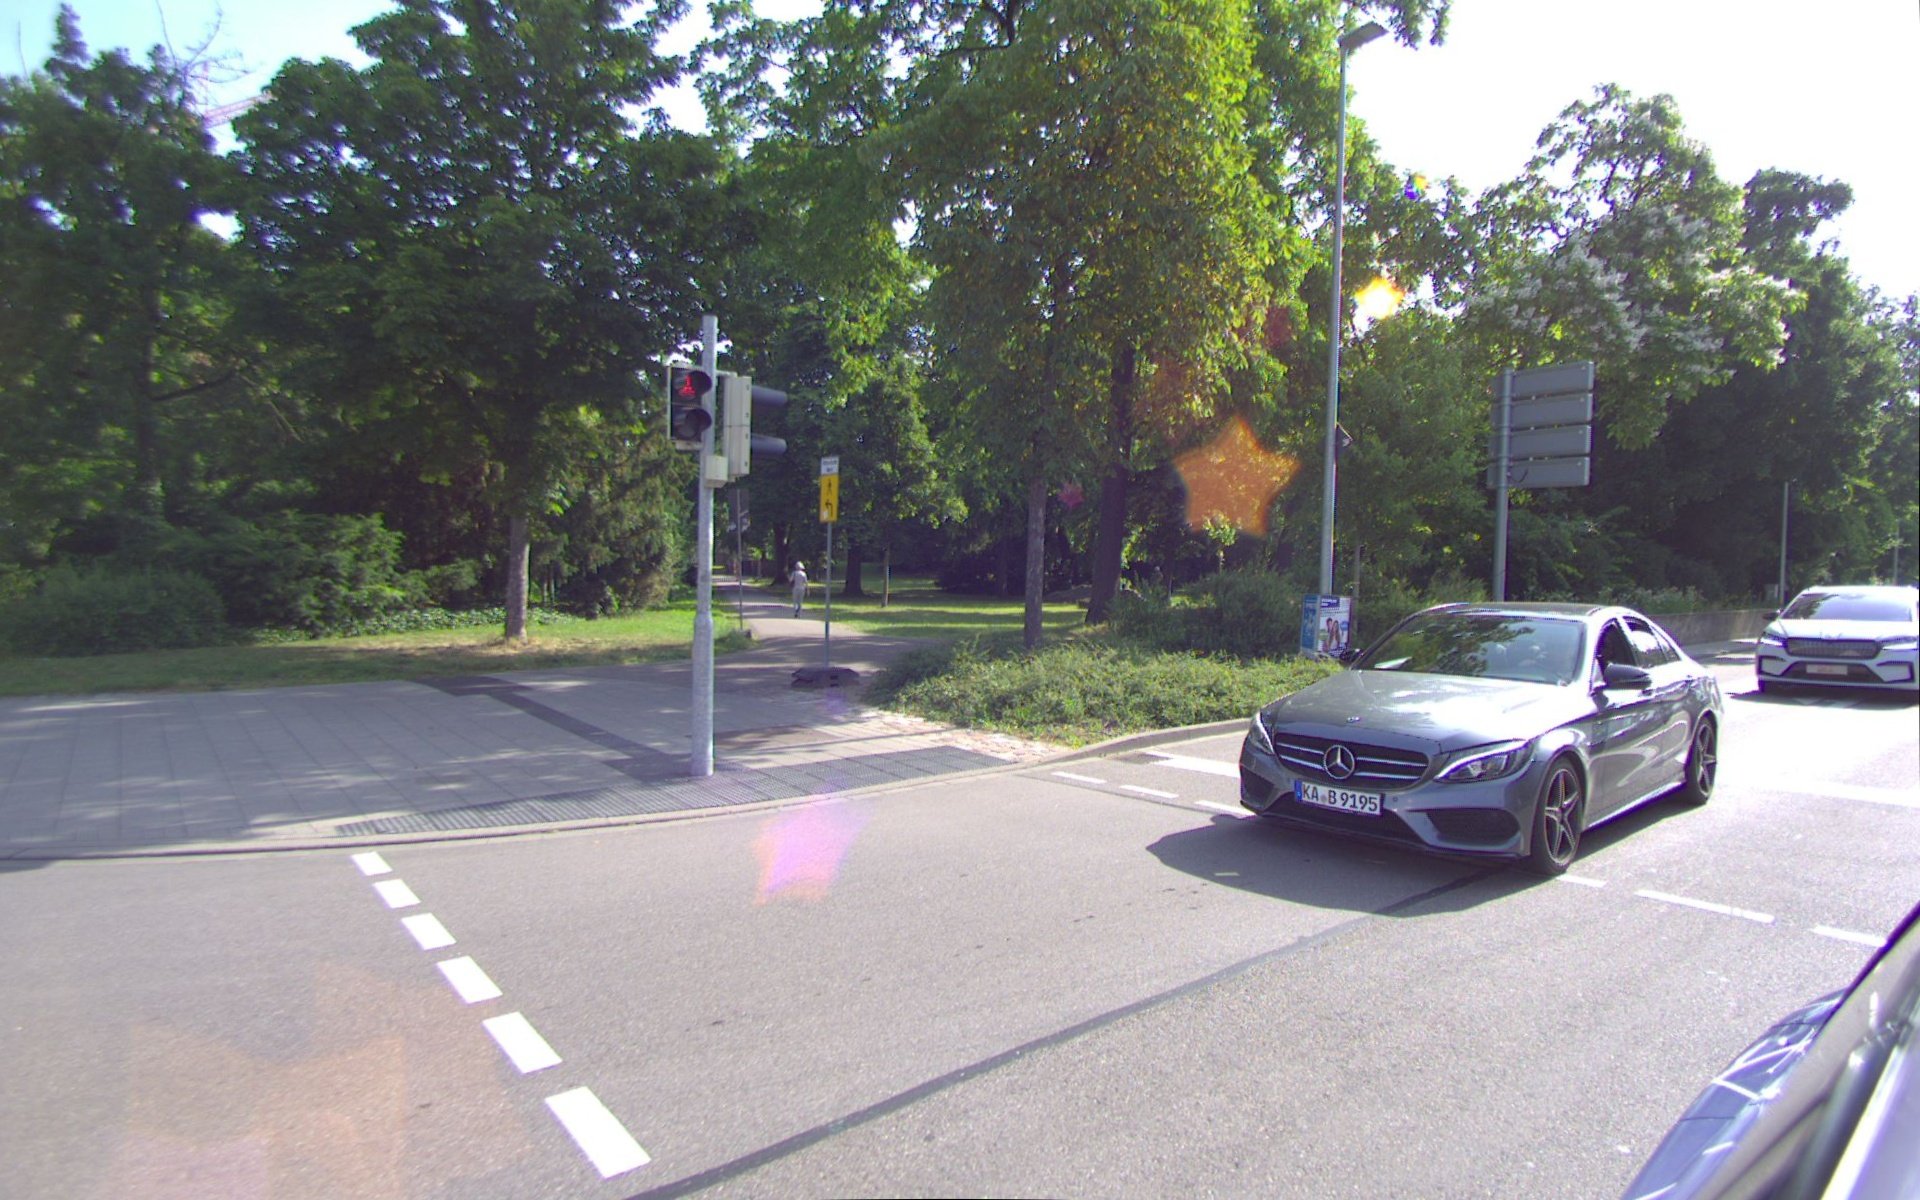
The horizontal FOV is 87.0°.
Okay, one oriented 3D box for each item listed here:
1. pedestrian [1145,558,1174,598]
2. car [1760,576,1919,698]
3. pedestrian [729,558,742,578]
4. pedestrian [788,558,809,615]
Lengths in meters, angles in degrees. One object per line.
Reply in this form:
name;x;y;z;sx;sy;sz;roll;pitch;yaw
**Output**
pedestrian;9.508;-1.045;48.250;1.048;1.853;0.987;1;2;-10
car;13.676;0.445;15.131;4.175;1.590;1.896;-1;1;-40
pedestrian;-15.990;-2.285;72.142;0.749;1.471;0.558;0;2;-40
pedestrian;-4.428;-0.378;27.757;0.523;1.536;0.671;1;2;-8
